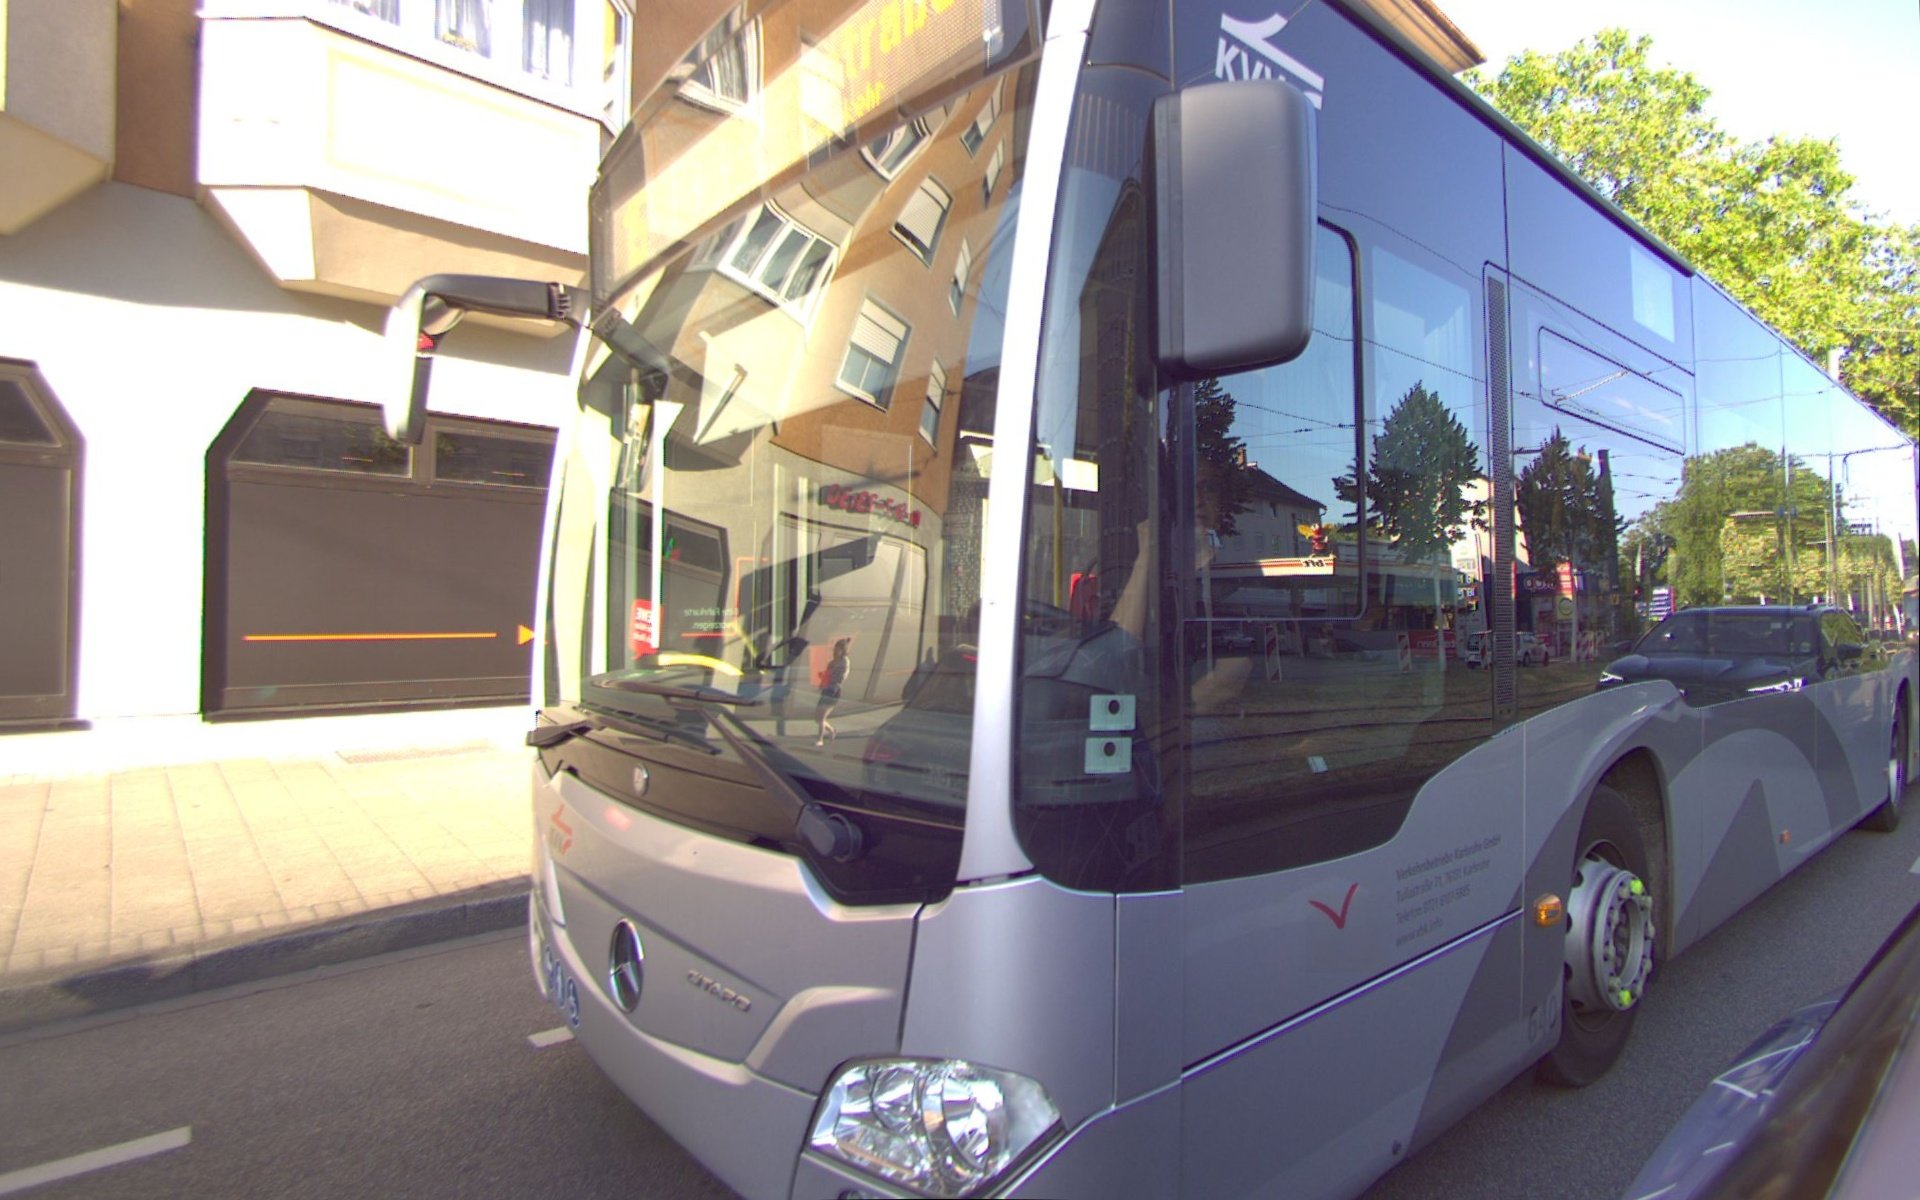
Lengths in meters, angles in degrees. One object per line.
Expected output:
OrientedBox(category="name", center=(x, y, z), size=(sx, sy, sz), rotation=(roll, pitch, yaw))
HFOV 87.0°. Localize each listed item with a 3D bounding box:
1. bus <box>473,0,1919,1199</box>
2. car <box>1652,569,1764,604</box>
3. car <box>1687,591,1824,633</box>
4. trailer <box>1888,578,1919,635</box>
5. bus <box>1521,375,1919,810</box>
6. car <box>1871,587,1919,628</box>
OrientedBox(category="bus", center=(2.664, -0.091, 5.267), size=(8.970, 3.095, 2.743), rotation=(1, -1, -41))
OrientedBox(category="car", center=(36.635, -0.638, 49.649), size=(1.770, 1.570, 4.120), rotation=(1, -1, -39))
OrientedBox(category="car", center=(32.352, 0.465, 41.243), size=(1.770, 1.514, 4.122), rotation=(1, 1, -39))
OrientedBox(category="trailer", center=(45.800, 0.306, 48.160), size=(4.569, 2.620, 1.888), rotation=(1, 1, -41))
OrientedBox(category="bus", center=(9.286, -0.023, 11.035), size=(8.698, 3.095, 2.743), rotation=(1, -1, -41))
OrientedBox(category="car", center=(41.022, 0.331, 43.834), size=(3.930, 1.651, 1.799), rotation=(1, 1, -41))
